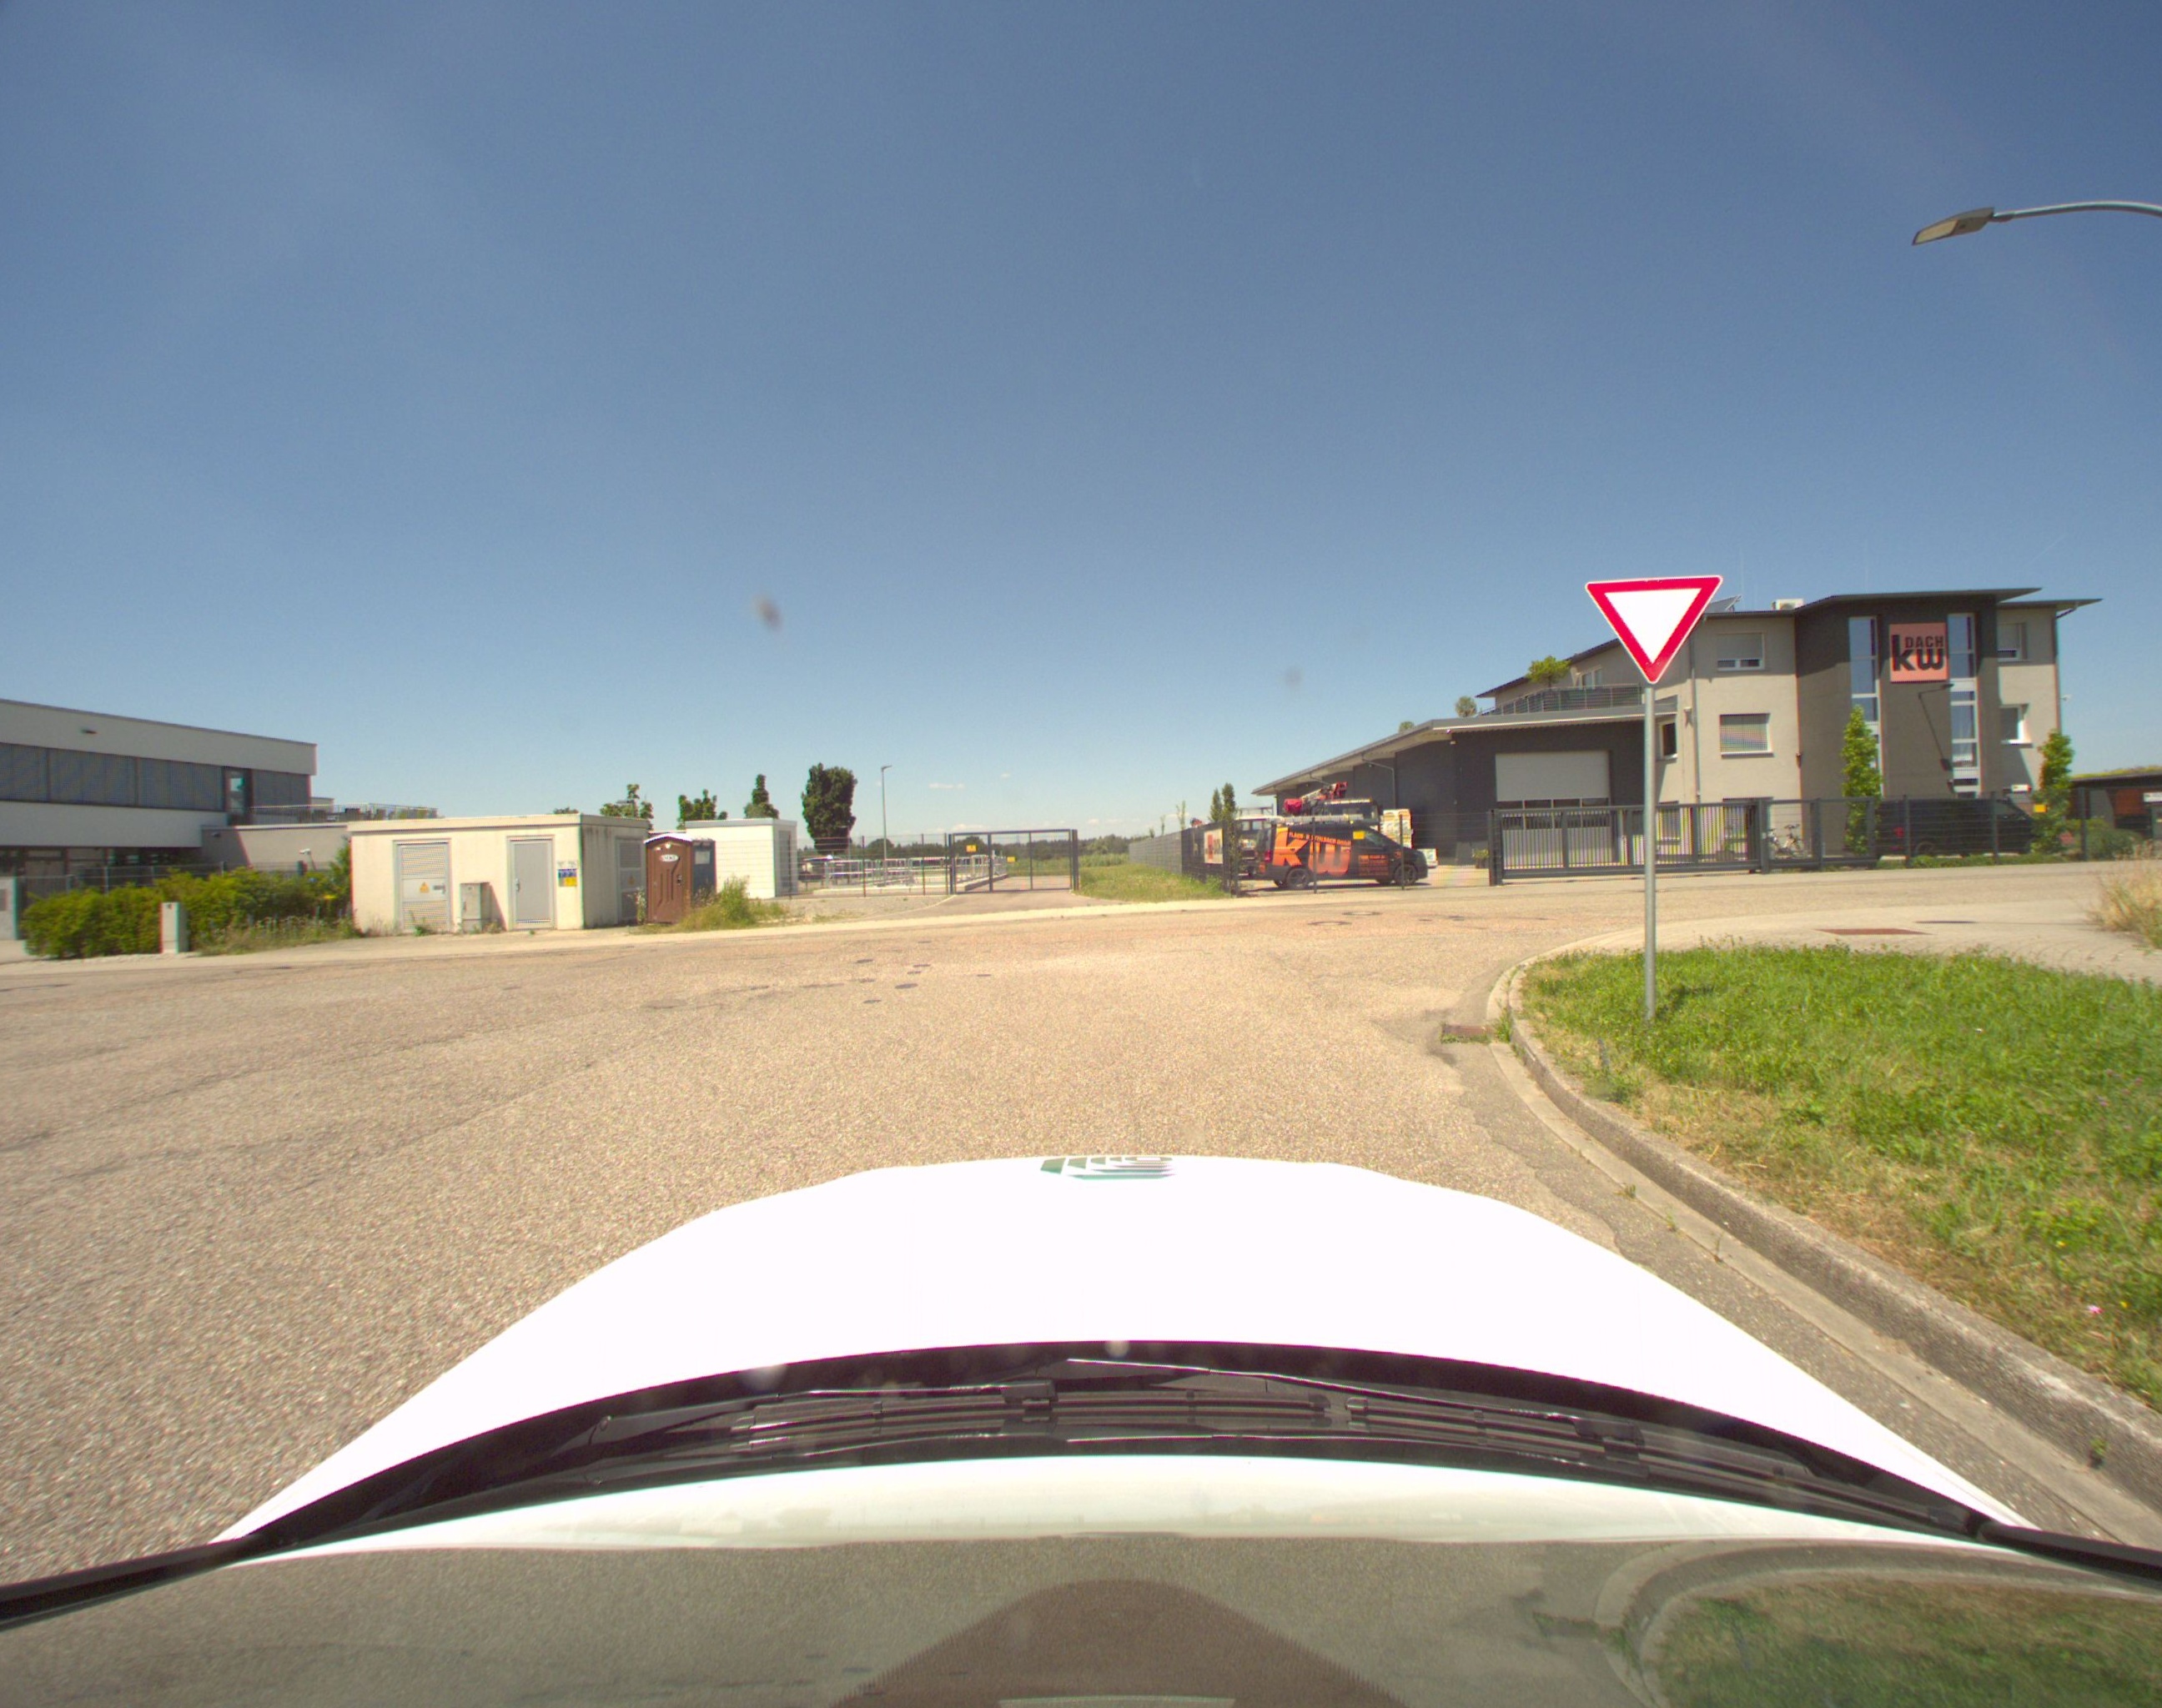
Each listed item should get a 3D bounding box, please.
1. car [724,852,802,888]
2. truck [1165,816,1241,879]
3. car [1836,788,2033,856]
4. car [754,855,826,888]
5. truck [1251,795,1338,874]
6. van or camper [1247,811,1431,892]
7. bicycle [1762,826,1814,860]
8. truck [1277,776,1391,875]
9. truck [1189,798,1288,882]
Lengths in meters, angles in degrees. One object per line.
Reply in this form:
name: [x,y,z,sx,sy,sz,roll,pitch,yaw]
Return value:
car: [-19.669,0.970,50.536,3.973,2.013,2.000,-2,0,1]
truck: [6.275,-0.318,42.929,2.912,2.938,6.935,-2,0,0]
car: [26.342,-0.960,25.255,3.973,1.867,2.000,-2,0,0]
car: [-19.474,1.163,54.586,3.973,2.013,2.000,-2,0,1]
truck: [11.552,-0.988,44.742,2.912,3.929,6.935,-2,0,0]
van or camper: [7.715,-0.093,24.686,4.920,2.163,2.000,-2,1,0]
bicycle: [25.786,-0.396,29.683,1.804,1.185,0.442,-2,0,-14]
truck: [11.224,-1.167,36.908,2.912,3.929,6.935,-2,0,0]
truck: [6.375,-0.527,34.046,2.718,3.061,6.935,-2,0,0]
